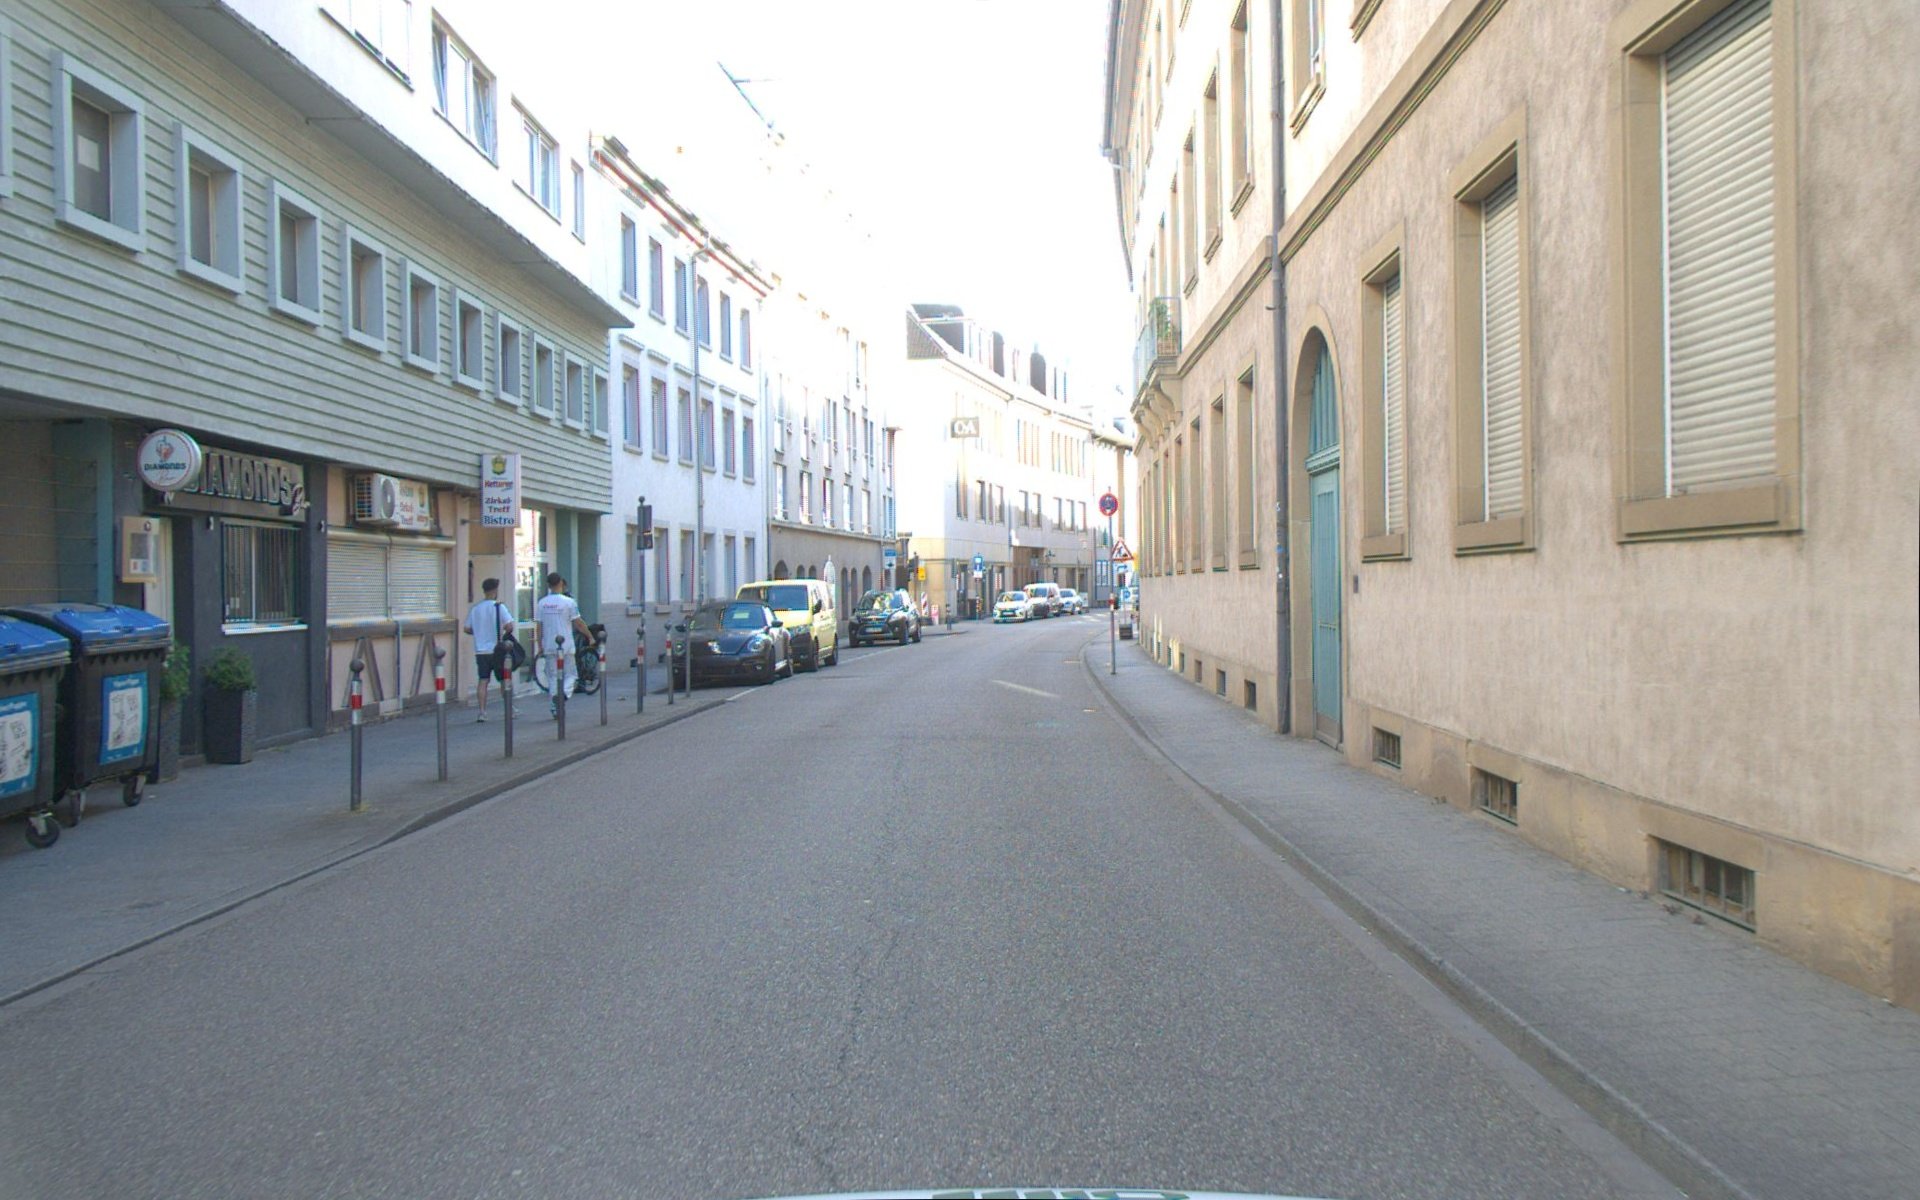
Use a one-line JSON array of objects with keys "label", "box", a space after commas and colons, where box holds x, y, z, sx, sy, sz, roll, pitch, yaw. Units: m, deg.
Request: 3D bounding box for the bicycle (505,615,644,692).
[{"label": "bicycle", "box": [-6.187, 0.851, 26.541, 2.086, 1.183, 0.823, -1, 0, 25]}]

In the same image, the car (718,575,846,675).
[{"label": "car", "box": [-3.737, 0.478, 35.624, 1.841, 1.899, 4.866, -4, 0, 3]}]

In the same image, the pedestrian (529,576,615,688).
[{"label": "pedestrian", "box": [-6.222, 0.504, 26.554, 1.056, 1.759, 0.801, -1, 0, 24]}]

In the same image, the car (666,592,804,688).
[{"label": "car", "box": [-4.037, 0.670, 30.249, 1.781, 1.512, 4.077, -4, 0, 1]}]

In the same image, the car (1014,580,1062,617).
[{"label": "car", "box": [4.182, -0.087, 88.064, 1.635, 1.850, 4.556, -2, 0, 14]}]

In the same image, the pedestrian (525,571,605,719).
[{"label": "pedestrian", "box": [-4.846, 0.540, 20.330, 0.683, 1.764, 0.829, -2, 0, 2]}]

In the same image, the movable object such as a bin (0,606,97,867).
[{"label": "movable object such as a bin", "box": [-6.147, 0.822, 10.089, 0.948, 1.497, 1.475, -1, 2, 0]}]

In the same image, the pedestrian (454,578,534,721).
[{"label": "pedestrian", "box": [-5.728, 0.594, 20.364, 0.658, 1.699, 0.895, -2, 0, 2]}]

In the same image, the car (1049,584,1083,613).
[{"label": "car", "box": [6.039, -0.089, 94.041, 1.244, 1.533, 3.404, -2, 0, 15]}]

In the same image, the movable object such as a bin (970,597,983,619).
[{"label": "movable object such as a bin", "box": [0.830, 0.409, 83.814, 0.596, 1.079, 0.714, 1, 0, 6]}]

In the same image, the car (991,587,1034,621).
[{"label": "car", "box": [2.643, 0.184, 82.364, 1.635, 1.533, 3.797, -2, 0, 9]}]

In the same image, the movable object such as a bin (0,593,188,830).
[{"label": "movable object such as a bin", "box": [-6.359, 0.746, 11.723, 1.099, 1.547, 1.342, -1, 1, 0]}]

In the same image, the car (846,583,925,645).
[{"label": "car", "box": [-2.293, 0.401, 52.124, 1.703, 1.740, 4.194, -4, 0, 7]}]
